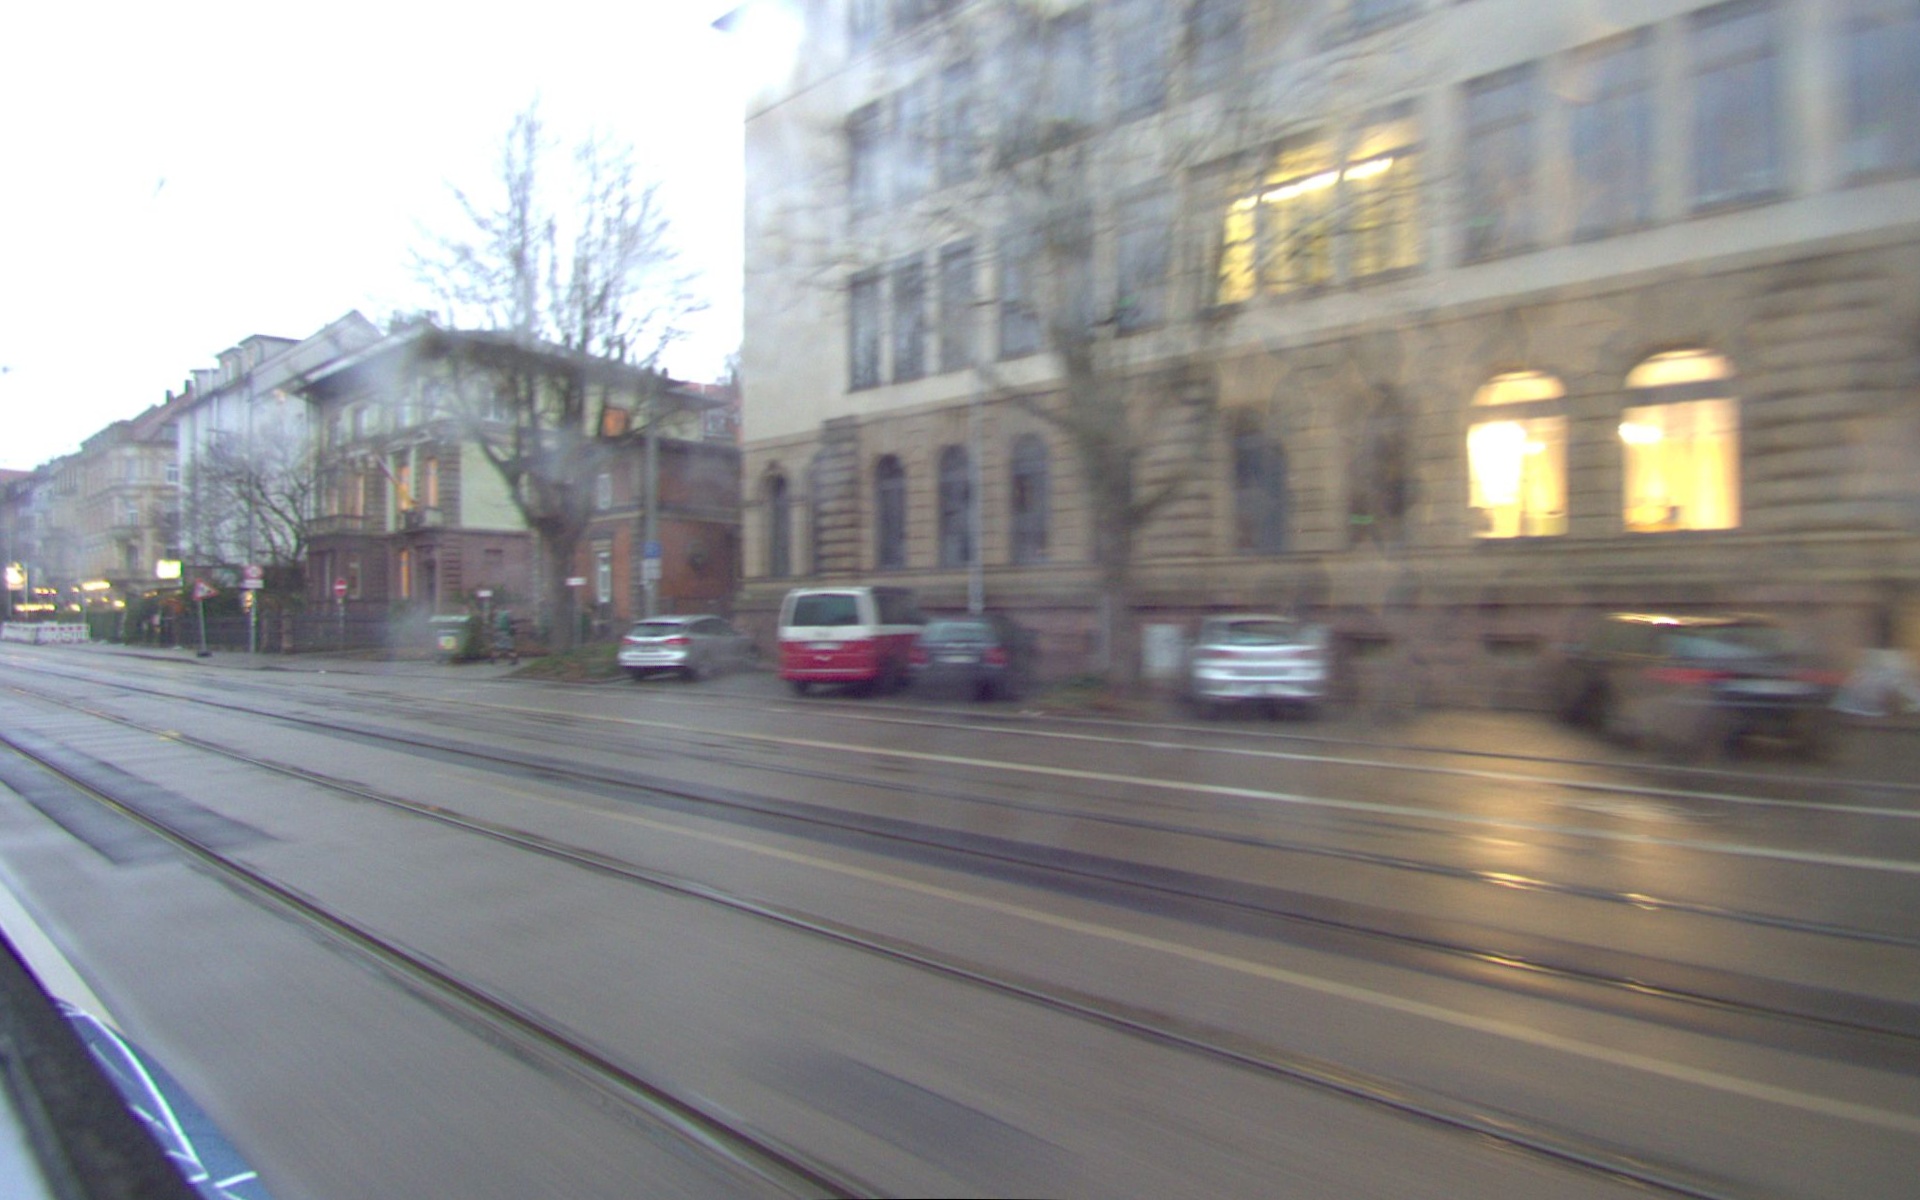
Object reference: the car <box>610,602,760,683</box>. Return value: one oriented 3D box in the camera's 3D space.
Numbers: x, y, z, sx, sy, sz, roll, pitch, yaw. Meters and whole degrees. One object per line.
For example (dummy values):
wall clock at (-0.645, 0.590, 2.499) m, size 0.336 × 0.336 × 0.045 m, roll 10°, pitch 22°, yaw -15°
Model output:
car at (-6.361, 0.926, 23.940) m, size 1.756 × 1.602 × 4.171 m, roll -1°, pitch 1°, yaw 11°

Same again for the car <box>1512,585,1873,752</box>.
car at (8.043, 0.617, 11.698) m, size 1.782 × 1.468 × 4.458 m, roll -1°, pitch 1°, yaw 14°

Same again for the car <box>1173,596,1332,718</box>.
car at (4.178, 0.743, 14.998) m, size 1.617 × 1.468 × 3.819 m, roll -1°, pitch 1°, yaw 7°

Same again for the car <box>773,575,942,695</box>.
car at (-1.861, 0.577, 20.078) m, size 1.946 × 2.069 × 4.604 m, roll -1°, pitch 1°, yaw 13°

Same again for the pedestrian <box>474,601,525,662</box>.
pedestrian at (-13.418, 0.899, 29.515) m, size 0.940 × 1.716 × 0.918 m, roll -1°, pitch 1°, yaw 18°

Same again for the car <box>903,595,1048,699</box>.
car at (0.398, 0.749, 18.108) m, size 1.805 × 1.551 × 3.961 m, roll -1°, pitch 1°, yaw 13°

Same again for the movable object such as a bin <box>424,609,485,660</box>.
movable object such as a bin at (-15.509, 1.035, 31.052) m, size 1.326 × 1.475 × 0.985 m, roll -1°, pitch 1°, yaw 3°
